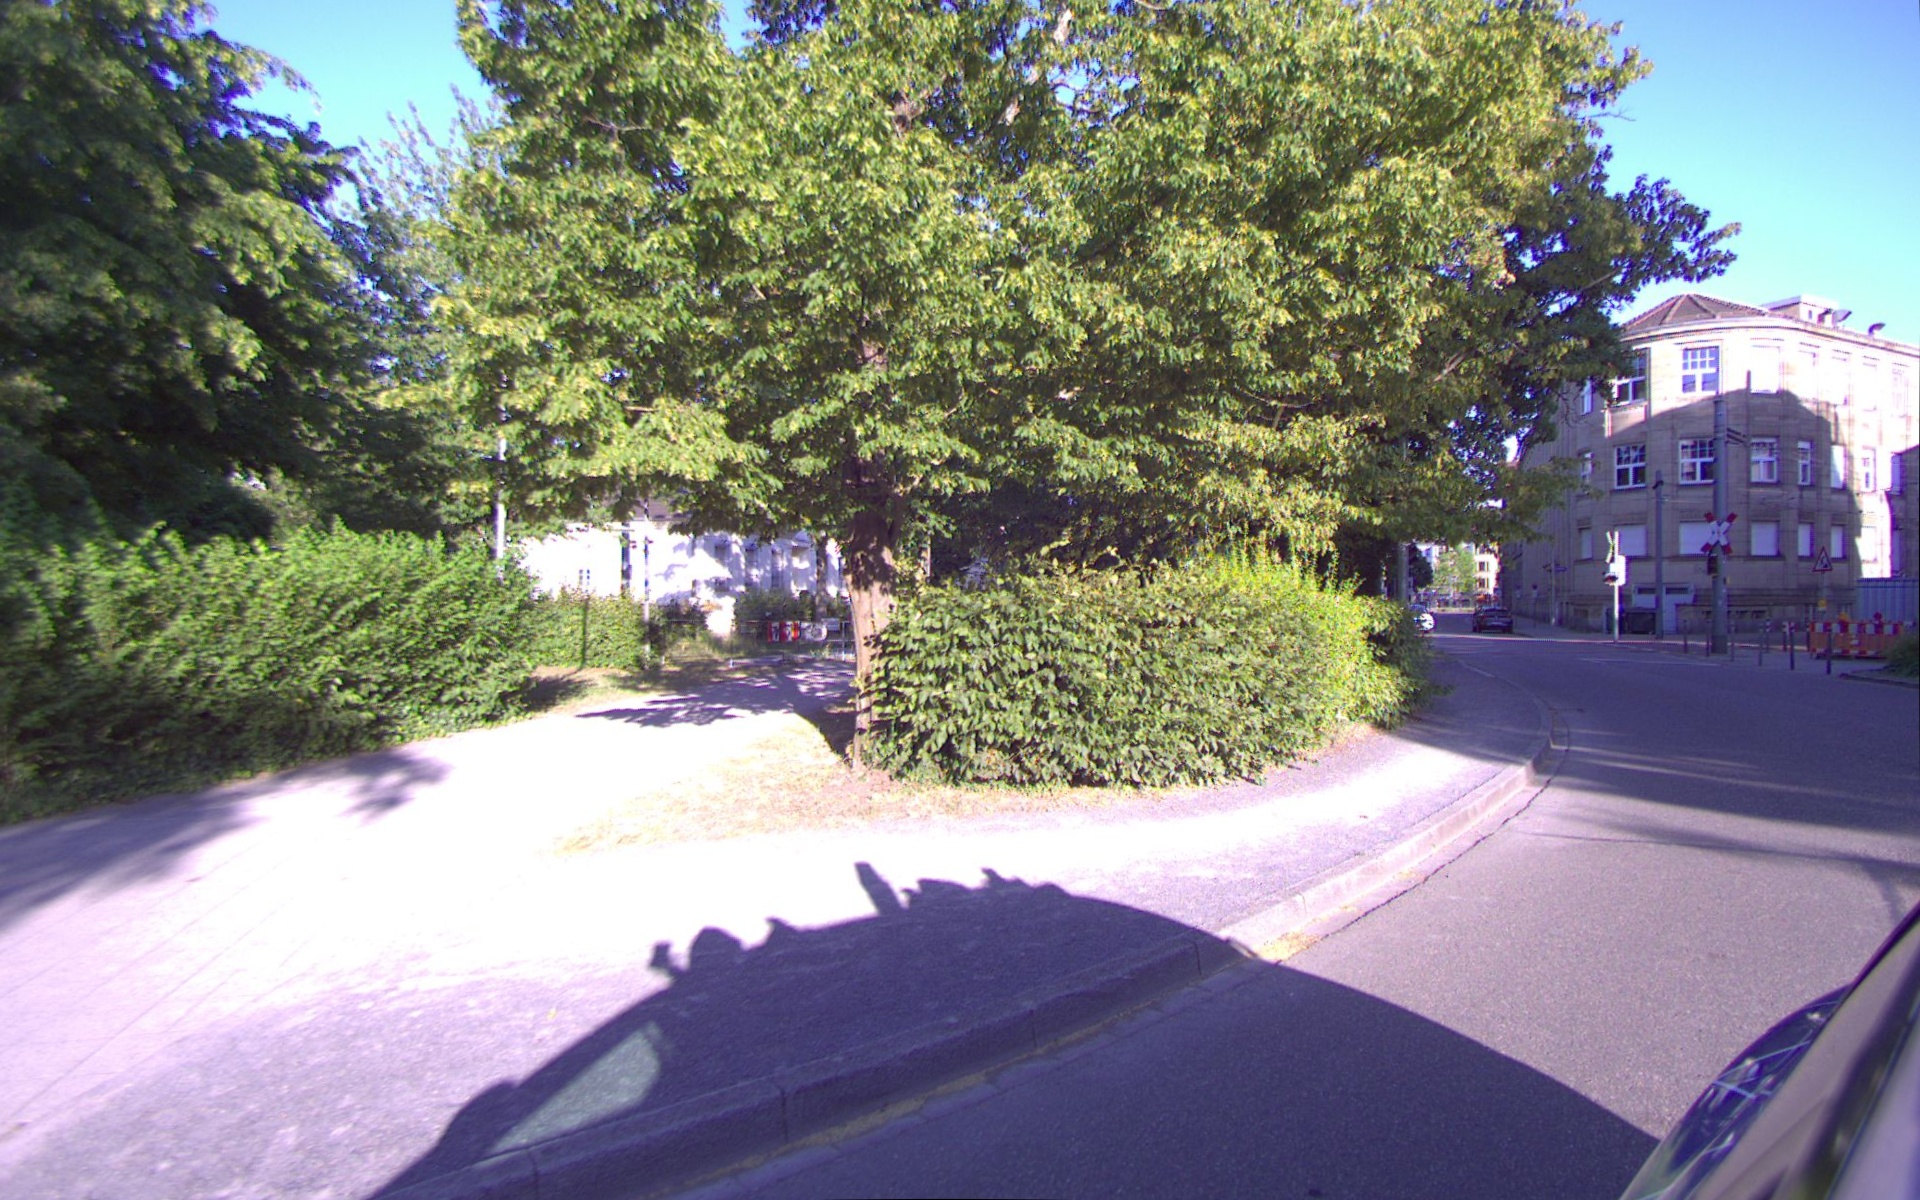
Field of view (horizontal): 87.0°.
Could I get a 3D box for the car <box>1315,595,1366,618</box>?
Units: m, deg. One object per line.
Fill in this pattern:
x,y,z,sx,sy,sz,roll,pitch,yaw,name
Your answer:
33.585,0.536,89.242,3.951,1.886,1.899,2,1,30,car

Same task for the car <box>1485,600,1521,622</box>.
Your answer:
38.106,0.774,71.133,1.729,1.453,4.526,-1,0,23,car

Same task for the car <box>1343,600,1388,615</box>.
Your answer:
44.515,0.803,111.057,4.405,1.485,1.694,1,0,28,car

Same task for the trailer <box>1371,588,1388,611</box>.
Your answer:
49.775,-0.068,120.038,1.587,2.674,3.667,0,0,28,trailer

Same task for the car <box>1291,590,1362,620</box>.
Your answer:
26.818,0.351,74.084,4.754,2.023,2.066,2,1,21,car

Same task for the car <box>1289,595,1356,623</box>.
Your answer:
22.960,0.558,64.148,3.952,1.566,1.723,2,1,21,car

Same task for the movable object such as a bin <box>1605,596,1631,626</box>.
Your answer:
34.175,0.564,52.583,1.141,1.505,1.608,0,0,33,movable object such as a bin

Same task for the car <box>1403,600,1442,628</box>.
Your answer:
25.018,0.732,54.691,1.674,1.471,4.061,0,0,29,car

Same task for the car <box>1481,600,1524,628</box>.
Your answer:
30.088,0.748,56.212,1.730,1.466,4.174,0,0,24,car

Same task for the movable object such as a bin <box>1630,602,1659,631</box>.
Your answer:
34.536,0.828,51.074,1.178,1.447,1.898,0,0,33,movable object such as a bin

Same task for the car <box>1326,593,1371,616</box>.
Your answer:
35.056,0.375,91.337,3.581,1.907,1.765,2,1,29,car
